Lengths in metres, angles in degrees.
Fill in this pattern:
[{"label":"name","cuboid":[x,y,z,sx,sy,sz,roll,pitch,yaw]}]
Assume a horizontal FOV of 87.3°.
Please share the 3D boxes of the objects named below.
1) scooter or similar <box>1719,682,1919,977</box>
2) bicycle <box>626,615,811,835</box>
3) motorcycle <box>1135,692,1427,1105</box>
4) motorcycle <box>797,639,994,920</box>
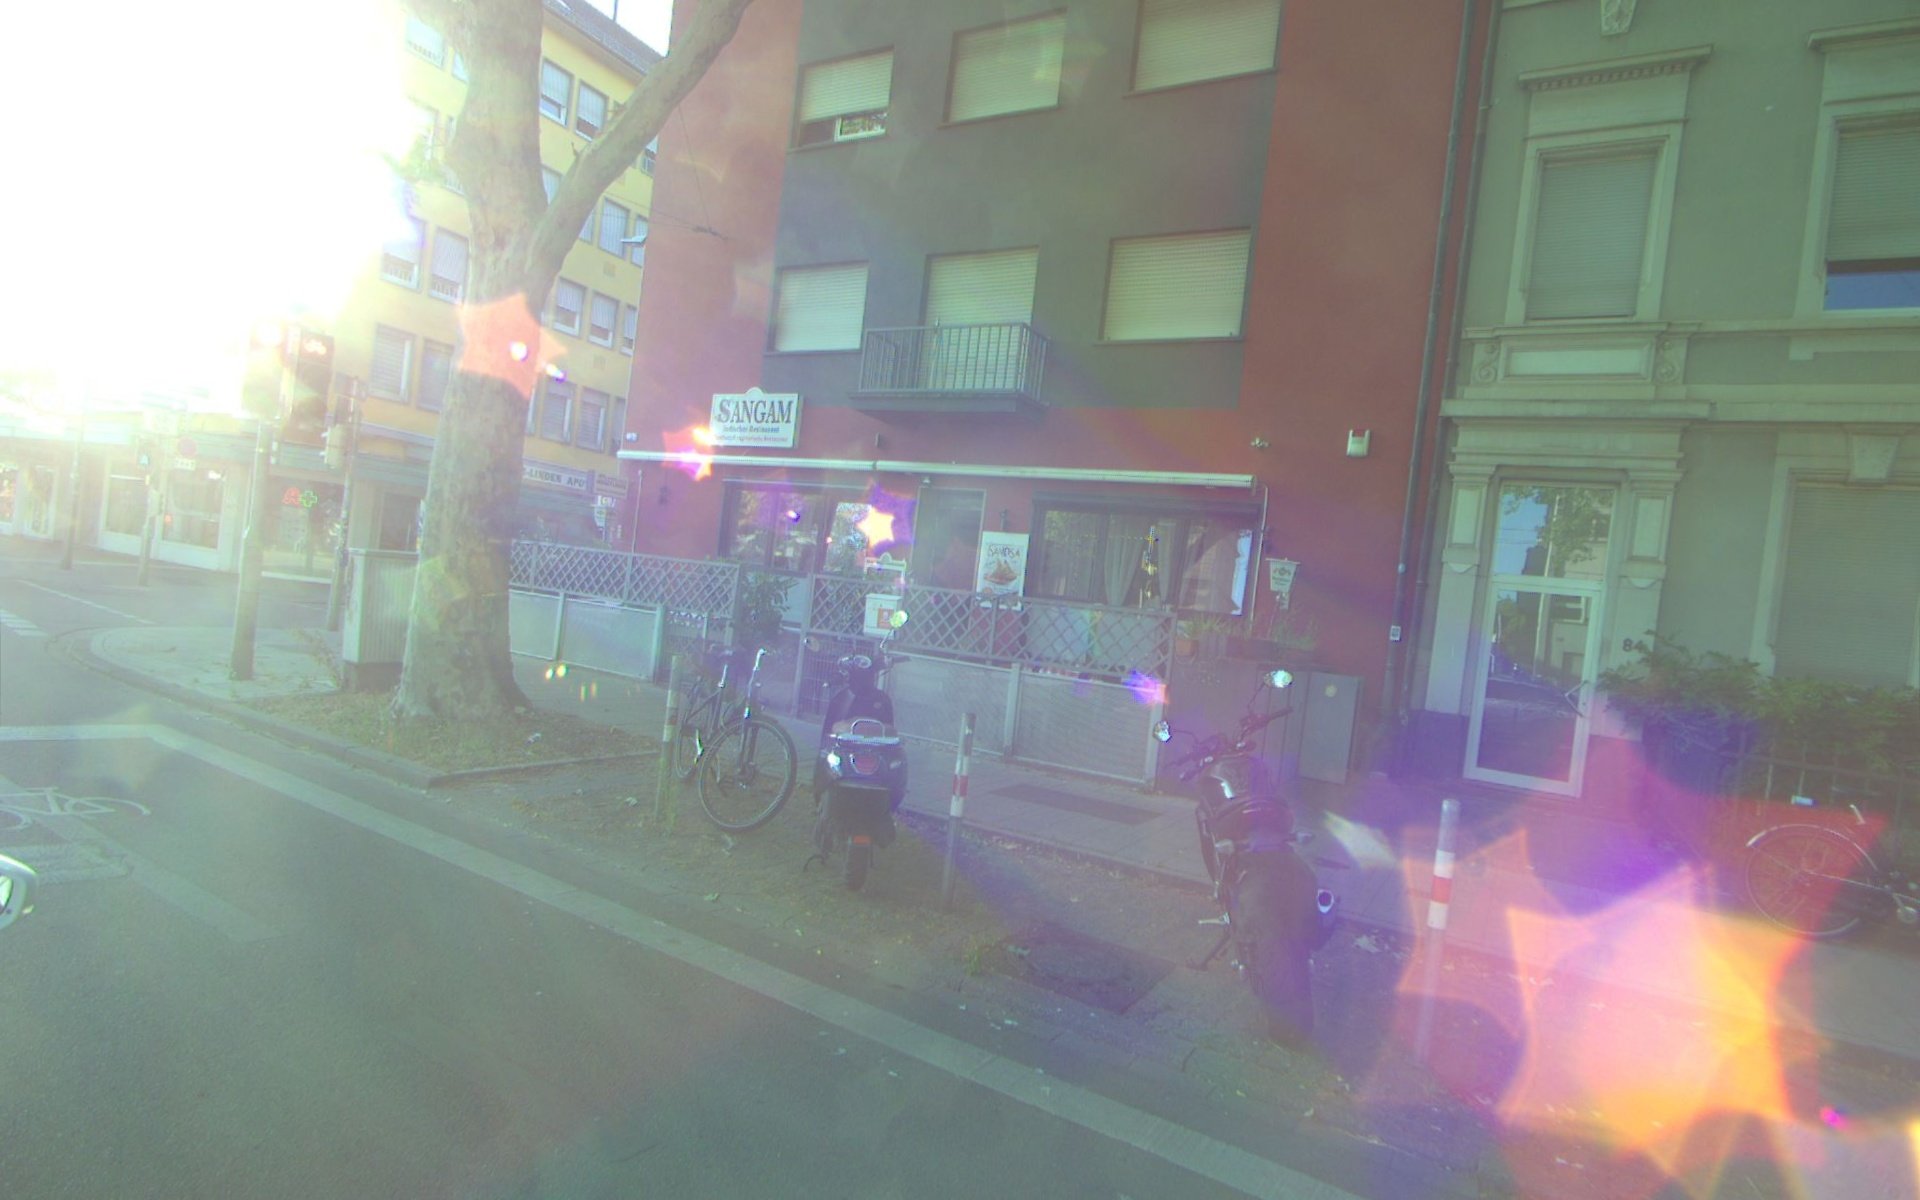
[{"label":"scooter or similar","cuboid":[5.805,1.360,5.453,2.502,1.488,0.665,7,1,32]},{"label":"bicycle","cuboid":[-1.707,0.780,6.860,0.614,1.126,1.784,5,3,-31]},{"label":"motorcycle","cuboid":[1.308,1.149,4.627,0.651,1.125,2.212,7,2,4]},{"label":"motorcycle","cuboid":[-0.455,0.909,5.738,0.772,1.126,1.885,6,2,-11]}]
